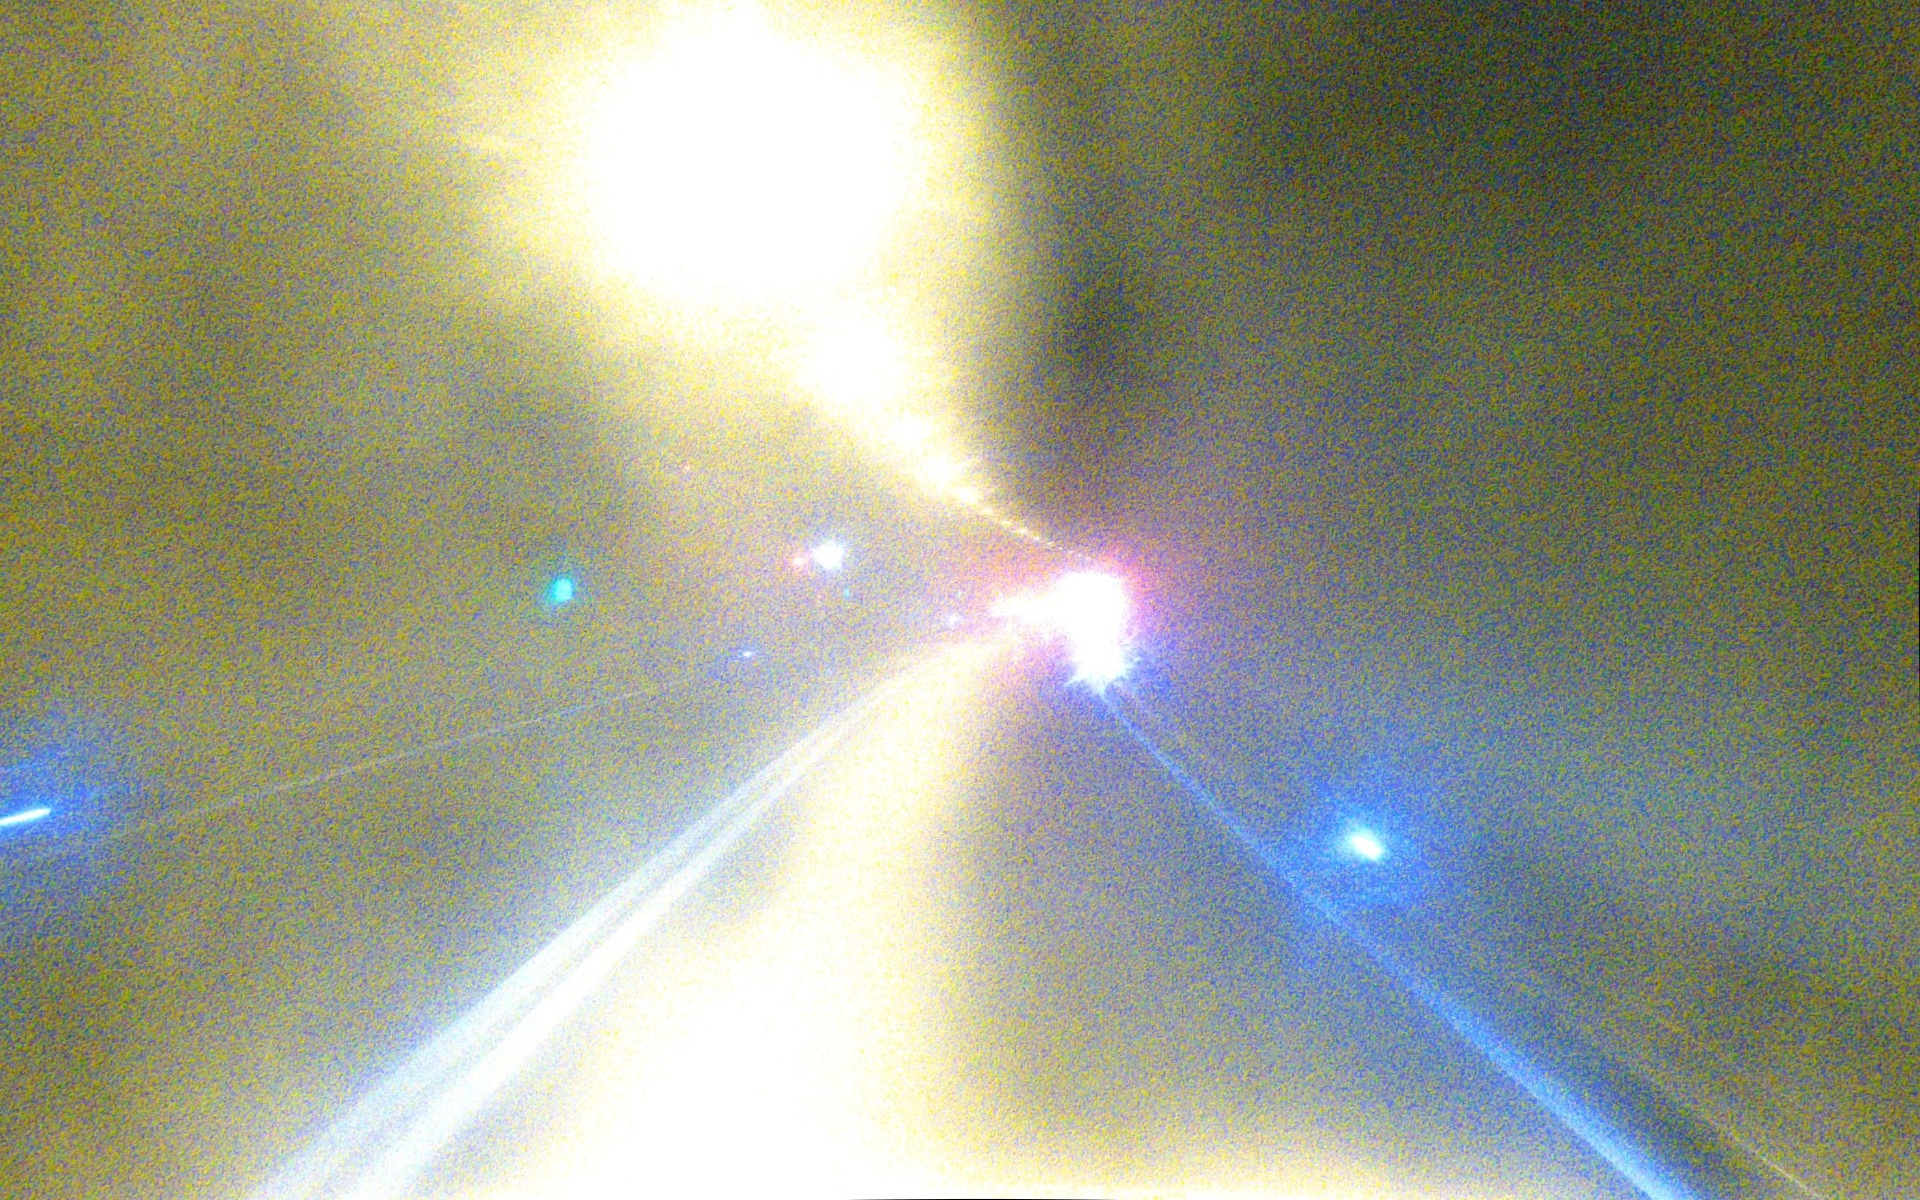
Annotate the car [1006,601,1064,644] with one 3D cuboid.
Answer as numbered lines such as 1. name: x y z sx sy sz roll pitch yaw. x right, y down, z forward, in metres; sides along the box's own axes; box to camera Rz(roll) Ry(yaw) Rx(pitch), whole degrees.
1. car: 3.126 0.899 67.943 2.045 1.691 4.003 1 0 7
